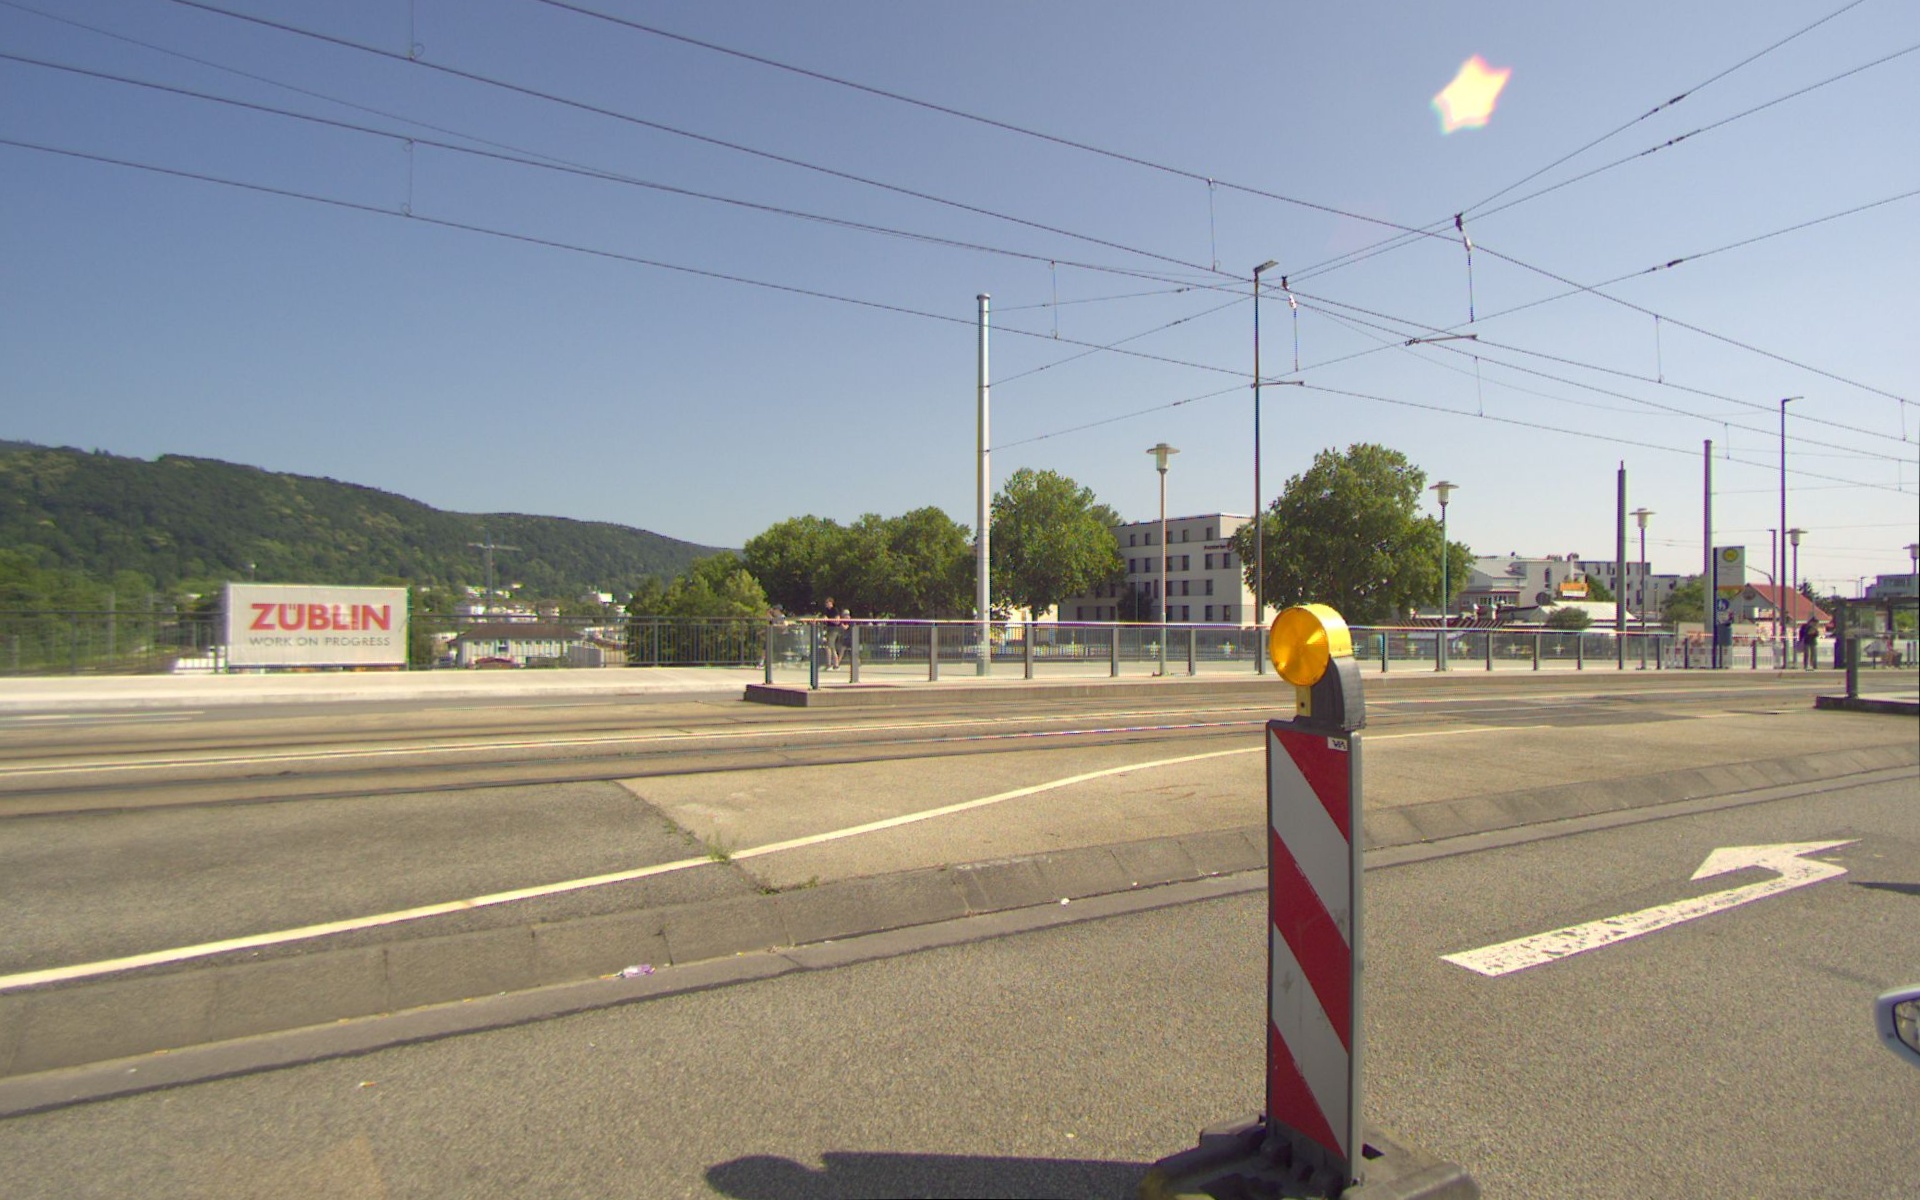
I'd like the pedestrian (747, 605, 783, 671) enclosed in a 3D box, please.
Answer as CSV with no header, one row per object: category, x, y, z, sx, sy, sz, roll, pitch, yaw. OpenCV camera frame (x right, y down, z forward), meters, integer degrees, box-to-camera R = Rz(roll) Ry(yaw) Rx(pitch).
pedestrian,-5.174,1.000,26.661,0.807,1.709,0.595,0,-1,-28

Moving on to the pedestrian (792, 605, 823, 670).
pedestrian,-4.122,1.007,27.130,0.760,1.709,0.382,0,-1,-29

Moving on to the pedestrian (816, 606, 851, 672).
pedestrian,-3.382,1.027,26.775,0.722,1.709,0.750,0,-1,-28

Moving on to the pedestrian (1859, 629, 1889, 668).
pedestrian,31.536,1.671,34.656,0.447,1.291,0.646,1,-1,-25

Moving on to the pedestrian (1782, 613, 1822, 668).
pedestrian,25.773,1.232,30.751,0.727,1.676,0.660,1,-1,-17

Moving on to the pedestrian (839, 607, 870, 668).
pedestrian,-2.990,1.064,28.501,0.763,1.709,0.502,0,-1,-28

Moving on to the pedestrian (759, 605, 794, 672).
pedestrian,-4.783,1.002,26.213,0.798,1.709,0.484,0,-1,-28

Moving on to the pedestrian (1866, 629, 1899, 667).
pedestrian,32.056,1.676,34.914,0.688,1.291,0.646,1,-1,-25
